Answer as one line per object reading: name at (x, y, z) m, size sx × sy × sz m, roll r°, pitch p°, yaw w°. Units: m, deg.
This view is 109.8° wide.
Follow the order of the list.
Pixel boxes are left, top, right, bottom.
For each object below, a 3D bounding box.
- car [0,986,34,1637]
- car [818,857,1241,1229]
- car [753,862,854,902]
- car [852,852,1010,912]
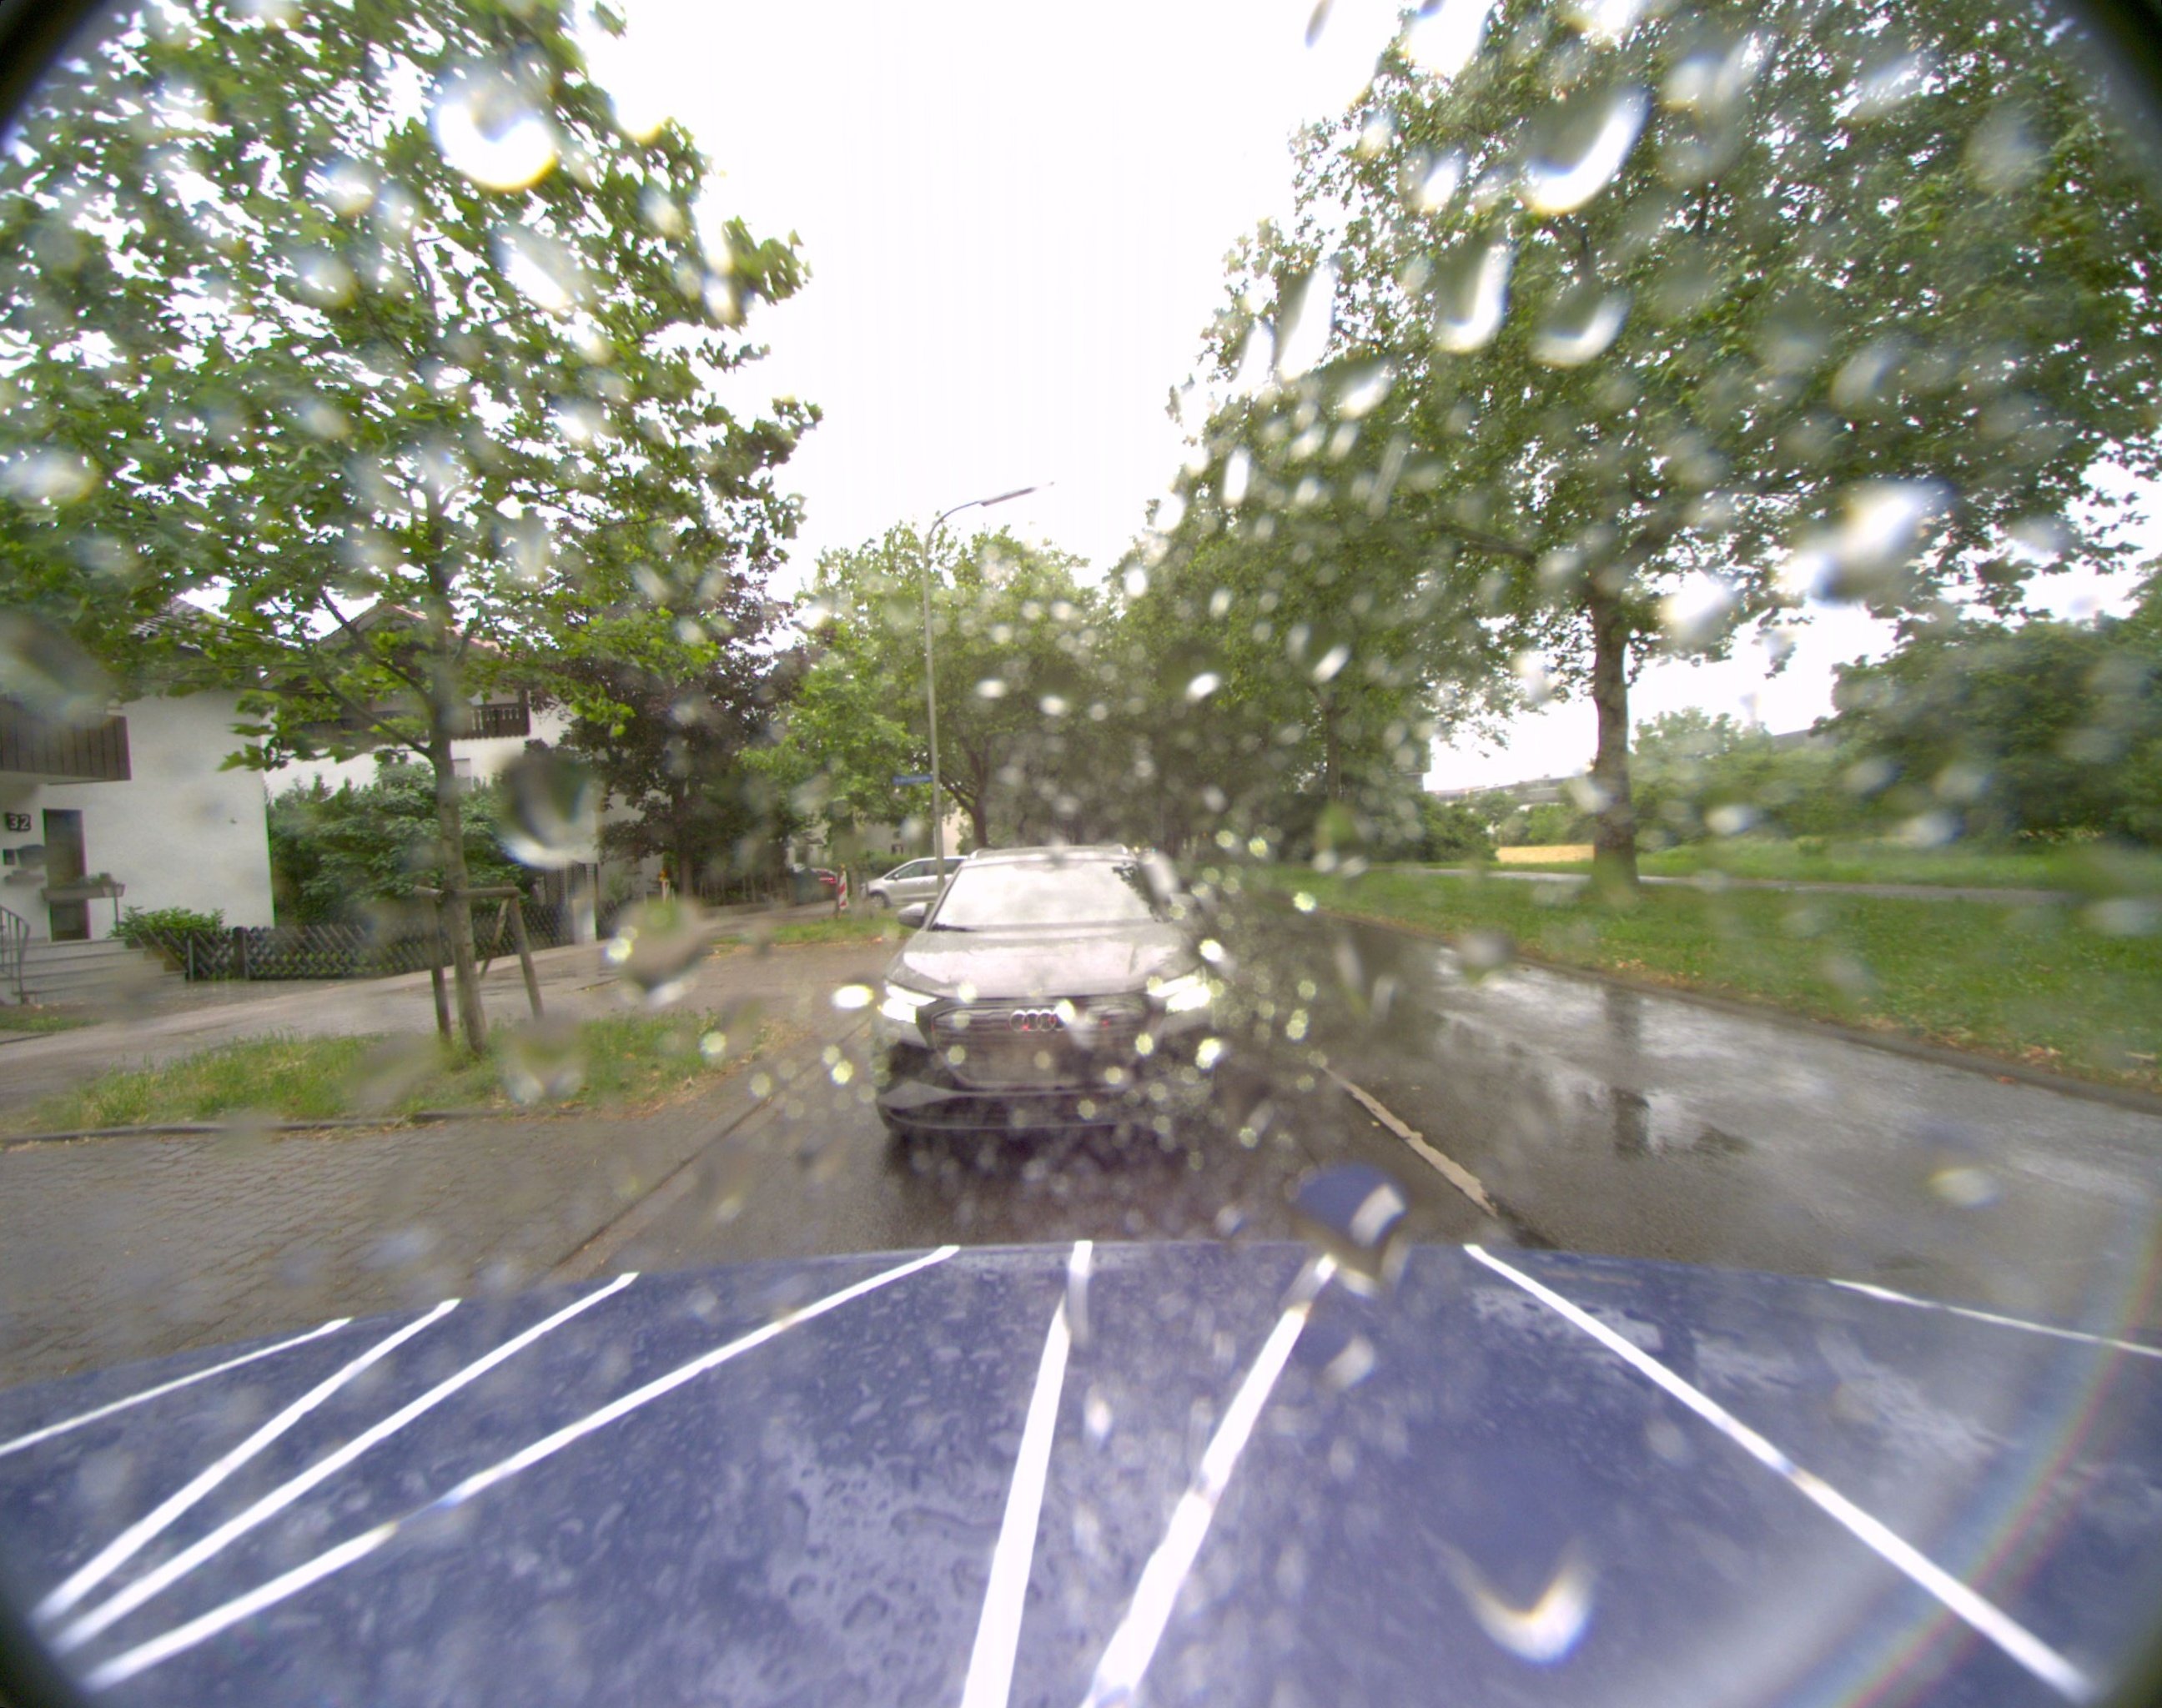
car at (-4.770, 1.113, 0.617) m, size 4.779 × 1.464 × 1.937 m, roll -2°, pitch 0°, yaw -4°
car at (-0.200, 0.879, 5.681) m, size 1.862 × 1.608 × 4.423 m, roll -3°, pitch 0°, yaw 1°
car at (-12.679, 1.255, 34.883) m, size 3.853 × 1.603 × 1.843 m, roll -3°, pitch 0°, yaw 2°
car at (-4.788, 0.882, 24.767) m, size 4.701 × 1.651 × 1.976 m, roll -3°, pitch 0°, yaw -1°
